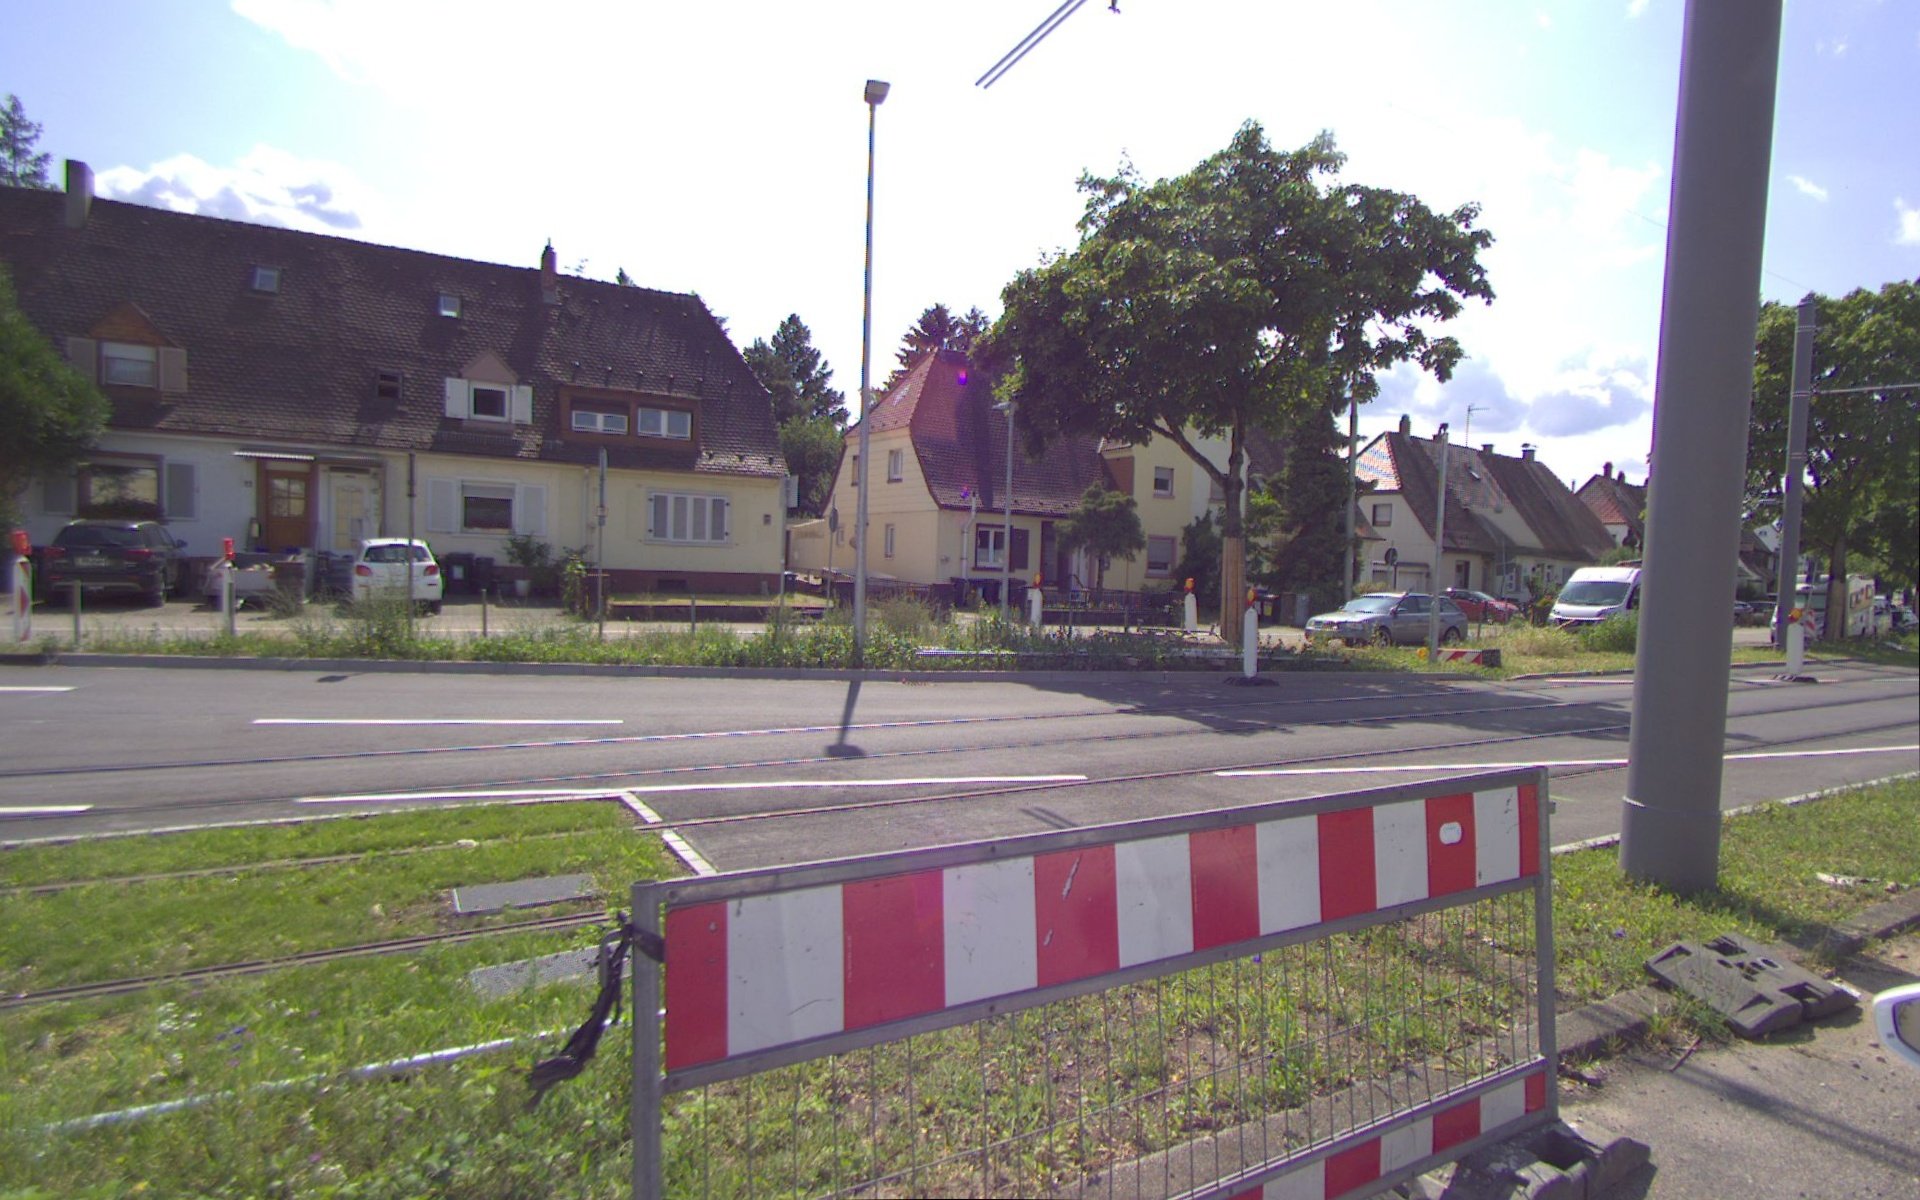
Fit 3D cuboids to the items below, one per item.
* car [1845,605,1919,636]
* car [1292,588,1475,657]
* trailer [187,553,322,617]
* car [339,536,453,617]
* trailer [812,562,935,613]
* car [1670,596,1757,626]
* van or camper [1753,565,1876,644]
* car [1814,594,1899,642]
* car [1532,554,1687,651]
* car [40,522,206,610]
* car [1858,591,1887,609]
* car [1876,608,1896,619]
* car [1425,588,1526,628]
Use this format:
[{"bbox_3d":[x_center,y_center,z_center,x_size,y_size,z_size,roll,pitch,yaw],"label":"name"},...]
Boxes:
[{"bbox_3d":[45.803,1.018,49.666,4.757,1.406,1.841,1,2,-33],"label":"car"},{"bbox_3d":[10.321,0.527,24.359,4.703,1.484,1.682,1,2,-33],"label":"car"},{"bbox_3d":[-14.458,-0.368,20.833,1.938,1.139,4.894,1,2,-31],"label":"trailer"},{"bbox_3d":[-12.297,-0.537,21.781,1.743,1.565,3.923,1,2,-35],"label":"car"},{"bbox_3d":[-2.903,-0.446,32.374,1.999,1.412,5.232,1,2,-29],"label":"trailer"},{"bbox_3d":[46.229,0.649,61.651,1.860,1.551,3.950,0,3,-42],"label":"car"},{"bbox_3d":[35.613,0.194,41.779,7.230,3.010,2.357,1,2,-38],"label":"van or camper"},{"bbox_3d":[41.592,0.822,46.577,4.859,2.041,1.979,1,2,-37],"label":"car"},{"bbox_3d":[19.637,0.076,30.311,4.866,2.704,2.139,1,2,-35],"label":"car"},{"bbox_3d":[-16.637,-0.685,20.165,1.684,1.565,3.869,1,2,-27],"label":"car"},{"bbox_3d":[137.524,-0.029,151.369,2.045,2.758,6.983,1,1,33],"label":"car"},{"bbox_3d":[133.332,1.914,144.679,1.707,1.525,4.549,1,1,38],"label":"car"},{"bbox_3d":[22.847,0.338,44.576,1.654,1.542,3.592,1,2,-35],"label":"car"}]
